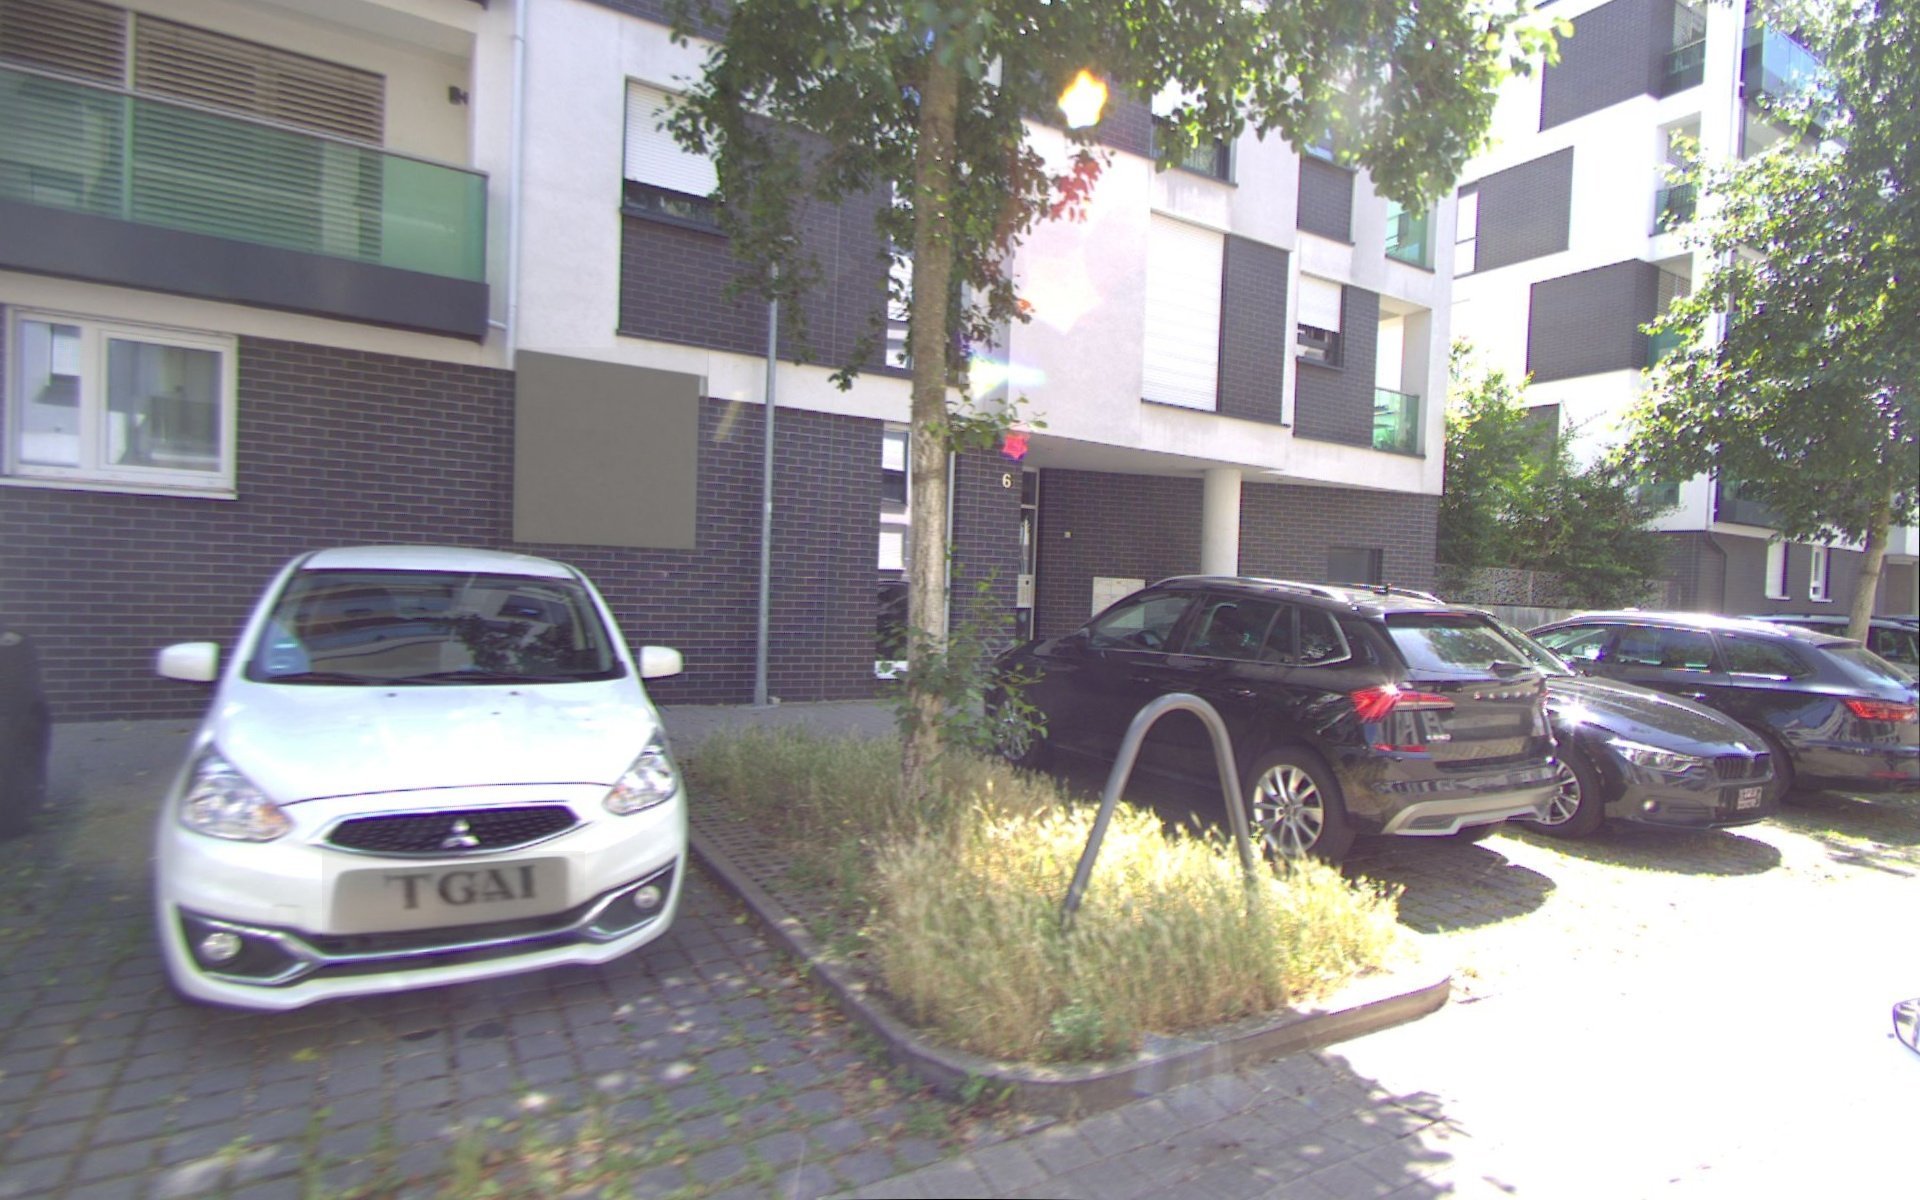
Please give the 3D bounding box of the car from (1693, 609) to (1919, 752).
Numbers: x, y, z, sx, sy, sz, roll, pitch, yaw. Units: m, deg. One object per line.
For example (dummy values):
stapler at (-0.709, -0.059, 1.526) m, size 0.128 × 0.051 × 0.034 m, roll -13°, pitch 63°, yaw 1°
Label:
car at (12.339, 1.004, 12.885) m, size 1.978 × 1.733 × 4.336 m, roll 2°, pitch -1°, yaw -32°

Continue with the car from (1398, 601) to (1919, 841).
car at (6.345, 0.873, 9.143) m, size 1.757 × 1.465 × 3.949 m, roll 2°, pitch 2°, yaw -34°

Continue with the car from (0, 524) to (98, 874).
car at (-4.592, 0.440, 3.378) m, size 1.772 × 1.496 × 4.295 m, roll 1°, pitch 2°, yaw -30°

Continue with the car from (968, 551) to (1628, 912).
car at (1.905, 0.559, 6.885) m, size 1.910 × 1.651 × 3.967 m, roll 2°, pitch 2°, yaw -30°

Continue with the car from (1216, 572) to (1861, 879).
car at (4.162, 0.698, 7.960) m, size 1.894 × 1.673 × 3.970 m, roll 2°, pitch 2°, yaw -28°

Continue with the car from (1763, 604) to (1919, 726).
car at (14.188, 0.988, 14.463) m, size 1.803 × 1.607 × 3.683 m, roll 2°, pitch 2°, yaw -35°

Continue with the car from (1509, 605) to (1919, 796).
car at (8.392, 0.915, 10.756) m, size 1.874 × 1.441 × 3.968 m, roll 1°, pitch 3°, yaw -29°

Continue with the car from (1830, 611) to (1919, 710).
car at (16.482, 1.069, 16.433) m, size 1.828 × 1.520 × 2.916 m, roll 2°, pitch 3°, yaw -31°

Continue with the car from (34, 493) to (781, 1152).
car at (-2.397, 0.469, 4.636) m, size 1.861 × 1.613 × 3.968 m, roll 1°, pitch 2°, yaw -29°
